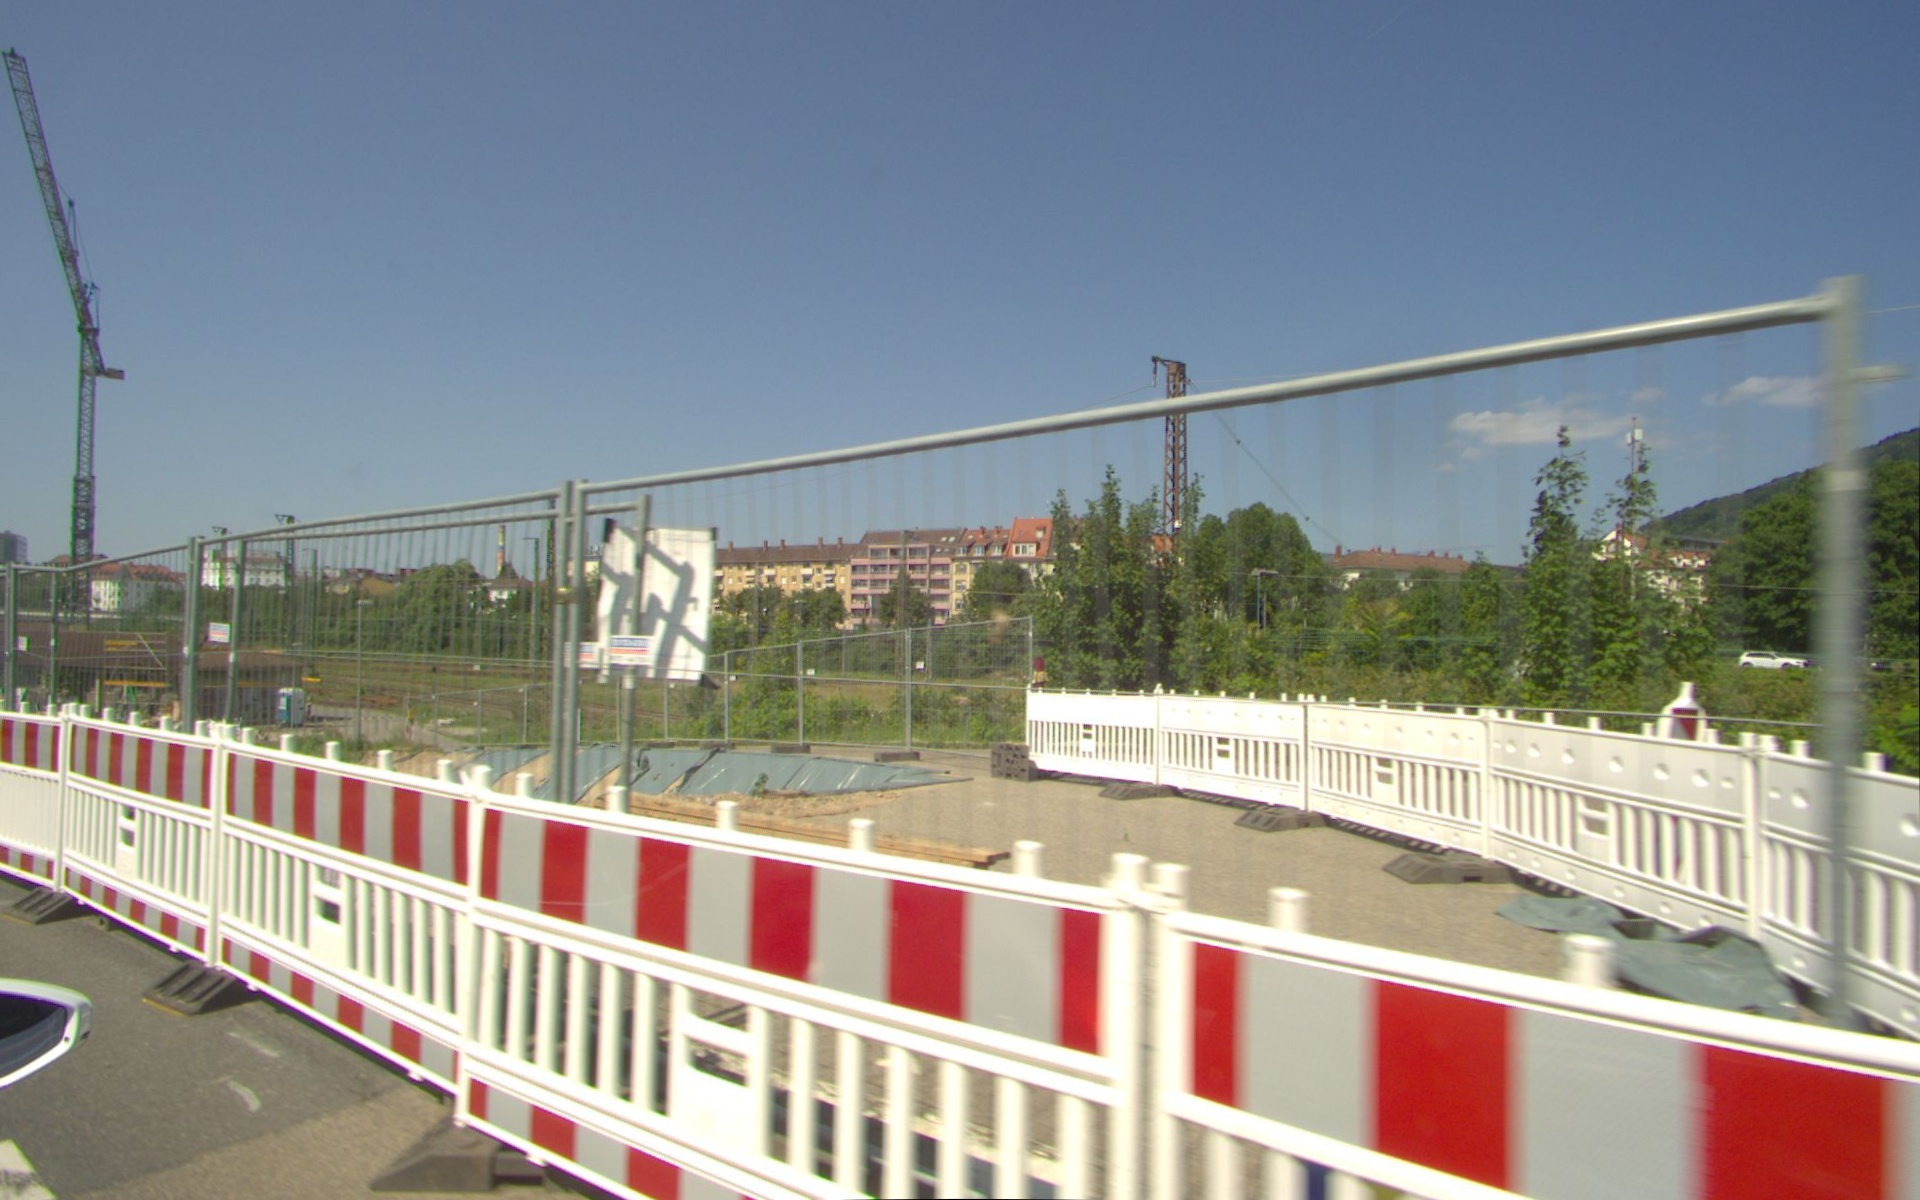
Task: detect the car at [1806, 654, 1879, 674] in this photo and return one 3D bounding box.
[{"bbox_3d":[67.717,4.900,76.905,1.755,1.384,3.831,2,-2,-24],"label":"car"}]

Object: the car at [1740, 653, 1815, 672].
[{"bbox_3d":[66.055,5.035,80.984,1.836,1.384,4.304,2,-2,-23],"label":"car"}]
